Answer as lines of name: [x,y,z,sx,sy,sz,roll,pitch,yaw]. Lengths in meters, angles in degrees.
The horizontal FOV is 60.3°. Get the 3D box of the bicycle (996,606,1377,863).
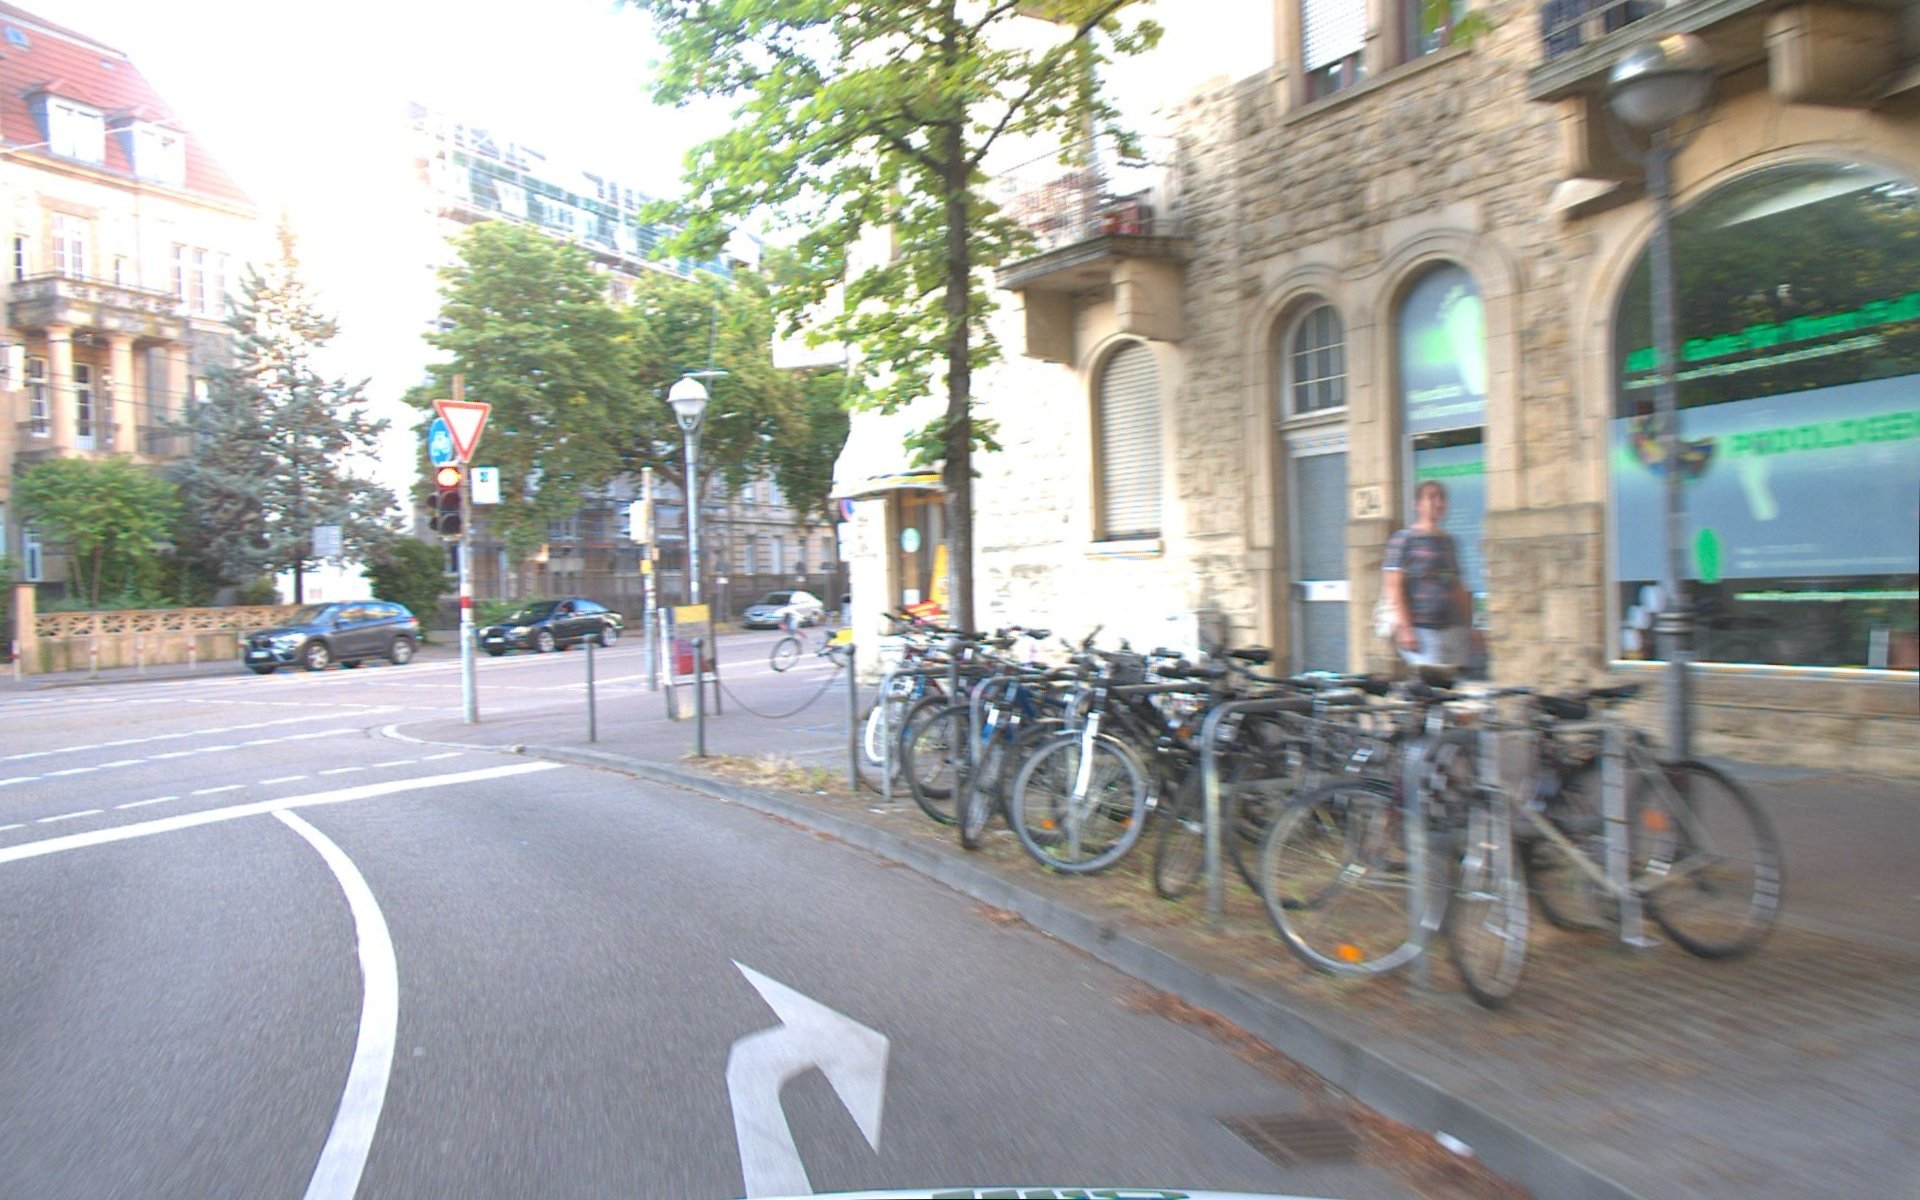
bicycle: [1.198,0.663,8.762,1.857,1.182,0.701,-2,1,-19]

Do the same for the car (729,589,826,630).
car: [-7.239,0.366,66.058,1.962,1.451,4.633,-2,1,20]

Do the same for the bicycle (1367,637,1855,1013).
bicycle: [2.262,0.719,5.720,1.645,1.097,0.483,-2,0,-20]

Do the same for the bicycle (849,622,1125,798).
bicycle: [0.200,0.719,11.414,1.782,1.056,0.693,-2,1,-30]

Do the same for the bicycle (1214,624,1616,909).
bicycle: [1.986,0.695,7.240,1.641,1.097,0.485,-2,0,-13]

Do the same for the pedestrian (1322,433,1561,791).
pedestrian: [3.043,0.050,10.535,0.994,2.122,1.056,-3,1,-16]

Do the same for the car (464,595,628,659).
car: [-11.385,0.714,45.774,1.905,1.536,4.630,-2,1,24]

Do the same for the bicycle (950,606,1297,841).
bicycle: [0.938,0.664,9.474,1.857,1.182,0.637,-2,0,-19]

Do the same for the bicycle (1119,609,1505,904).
bicycle: [1.572,0.675,7.448,1.640,1.147,0.485,-2,7,-12]

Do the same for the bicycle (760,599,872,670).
bicycle: [-2.538,0.596,29.081,1.841,1.150,0.729,-2,0,-15]

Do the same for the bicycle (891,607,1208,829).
bicycle: [0.567,0.672,10.120,1.865,1.182,0.634,-2,1,-30]

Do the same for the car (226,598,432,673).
car: [-14.676,0.795,38.724,1.905,1.536,4.418,-2,1,24]

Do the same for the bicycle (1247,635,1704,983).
bicycle: [1.924,0.723,6.141,1.645,1.097,0.483,-2,0,-20]

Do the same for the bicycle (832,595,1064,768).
bicycle: [-0.087,0.626,13.385,1.769,1.258,0.644,-2,1,-31]

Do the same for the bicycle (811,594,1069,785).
bicycle: [-0.138,0.623,12.207,1.768,1.258,0.693,-2,1,-30]
